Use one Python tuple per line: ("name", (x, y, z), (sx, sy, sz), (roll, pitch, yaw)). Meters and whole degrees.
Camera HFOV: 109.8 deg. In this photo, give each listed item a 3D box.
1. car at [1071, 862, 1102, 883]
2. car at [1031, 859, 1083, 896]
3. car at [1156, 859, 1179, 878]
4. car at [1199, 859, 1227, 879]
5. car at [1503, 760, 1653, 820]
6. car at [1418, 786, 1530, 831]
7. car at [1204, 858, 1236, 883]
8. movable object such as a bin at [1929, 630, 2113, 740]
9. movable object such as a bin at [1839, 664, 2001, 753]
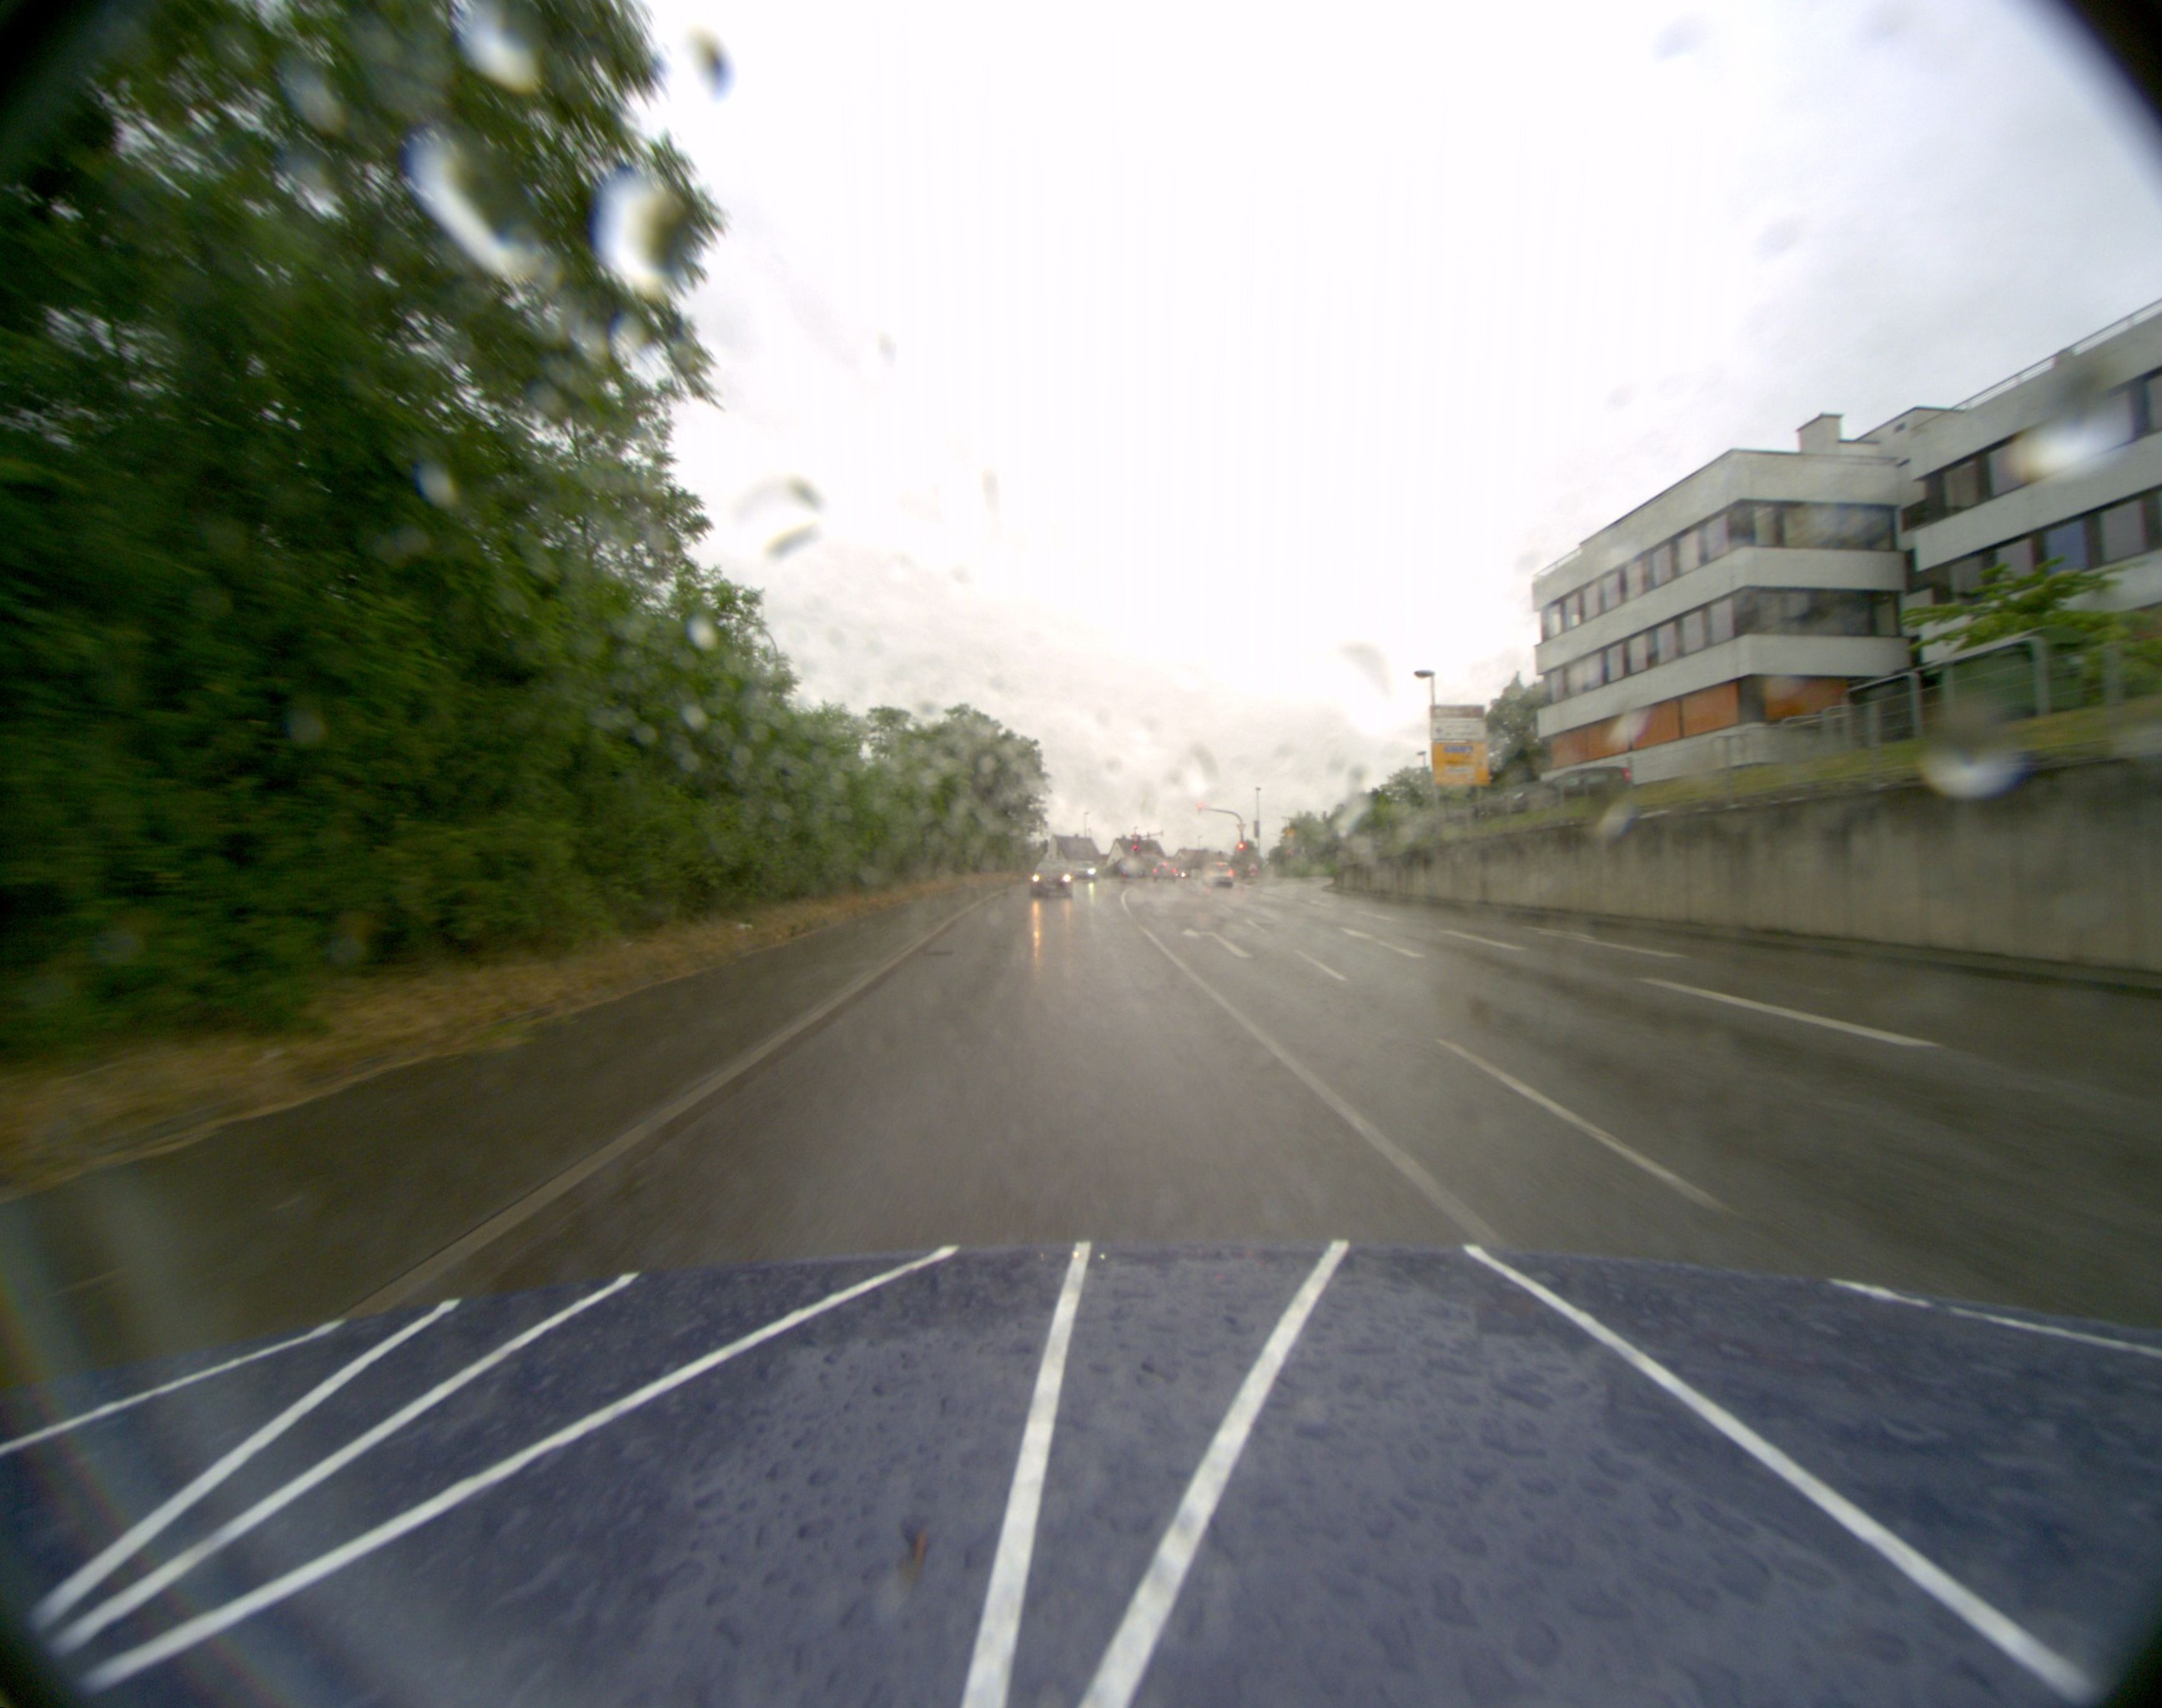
("car", (0.423, 1.334, 55.700), (1.873, 1.432, 4.380), (0, 0, 6))
("car", (-0.929, 0.919, 31.747), (1.873, 1.432, 4.378), (0, 0, 2))
("car", (6.748, 1.094, 59.489), (1.737, 1.297, 3.722), (-2, 1, 6))
("car", (9.711, 1.059, 56.006), (1.737, 1.297, 3.722), (-2, 1, 6))
("car", (16.333, -2.041, 25.154), (3.989, 1.644, 2.004), (-1, 1, 32))
("car", (16.467, -1.838, 31.891), (3.989, 1.644, 2.004), (-1, 1, 32))
("car", (8.810, 1.018, 48.423), (1.737, 1.452, 3.722), (-2, 1, 6))
("movable object such as a bin", (14.113, -2.506, 11.467), (1.244, 1.338, 1.218), (-2, 0, 3))
("movable object such as a bin", (14.080, -2.411, 12.820), (1.244, 1.204, 1.343), (-2, 0, 2))
